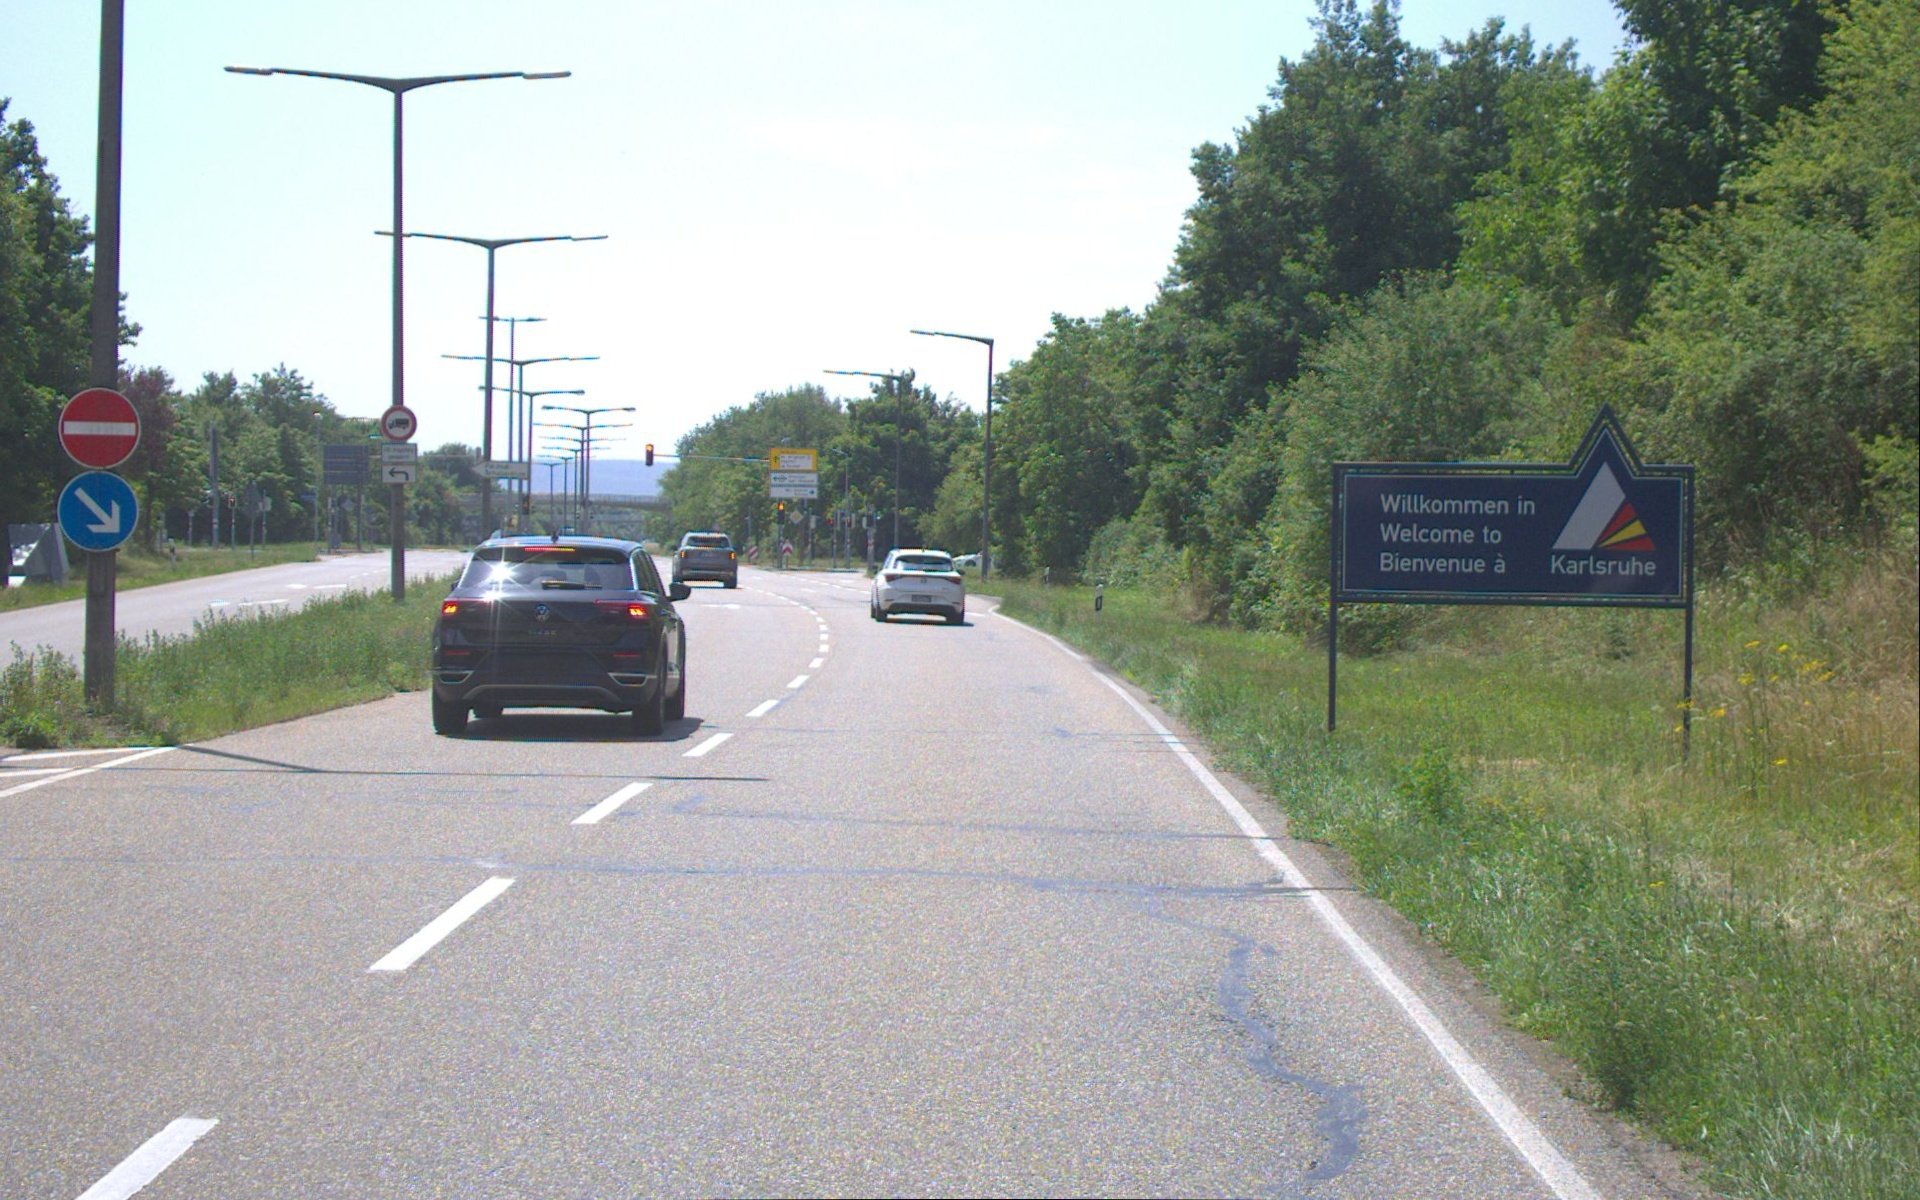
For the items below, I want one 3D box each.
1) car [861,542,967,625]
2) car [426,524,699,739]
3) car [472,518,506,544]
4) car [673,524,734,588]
[{"bbox_3d":[-0.944,-0.353,68.622,1.797,1.577,4.001,1,1,-5],"label":"car"},{"bbox_3d":[-3.121,0.210,27.693,1.755,1.551,4.000,2,1,-1],"label":"car"},{"bbox_3d":[-29.459,-4.314,215.094,1.828,1.514,4.001,2,1,-4],"label":"car"},{"bbox_3d":[-8.036,-1.376,107.442,1.755,1.922,4.001,2,1,-6],"label":"car"}]
